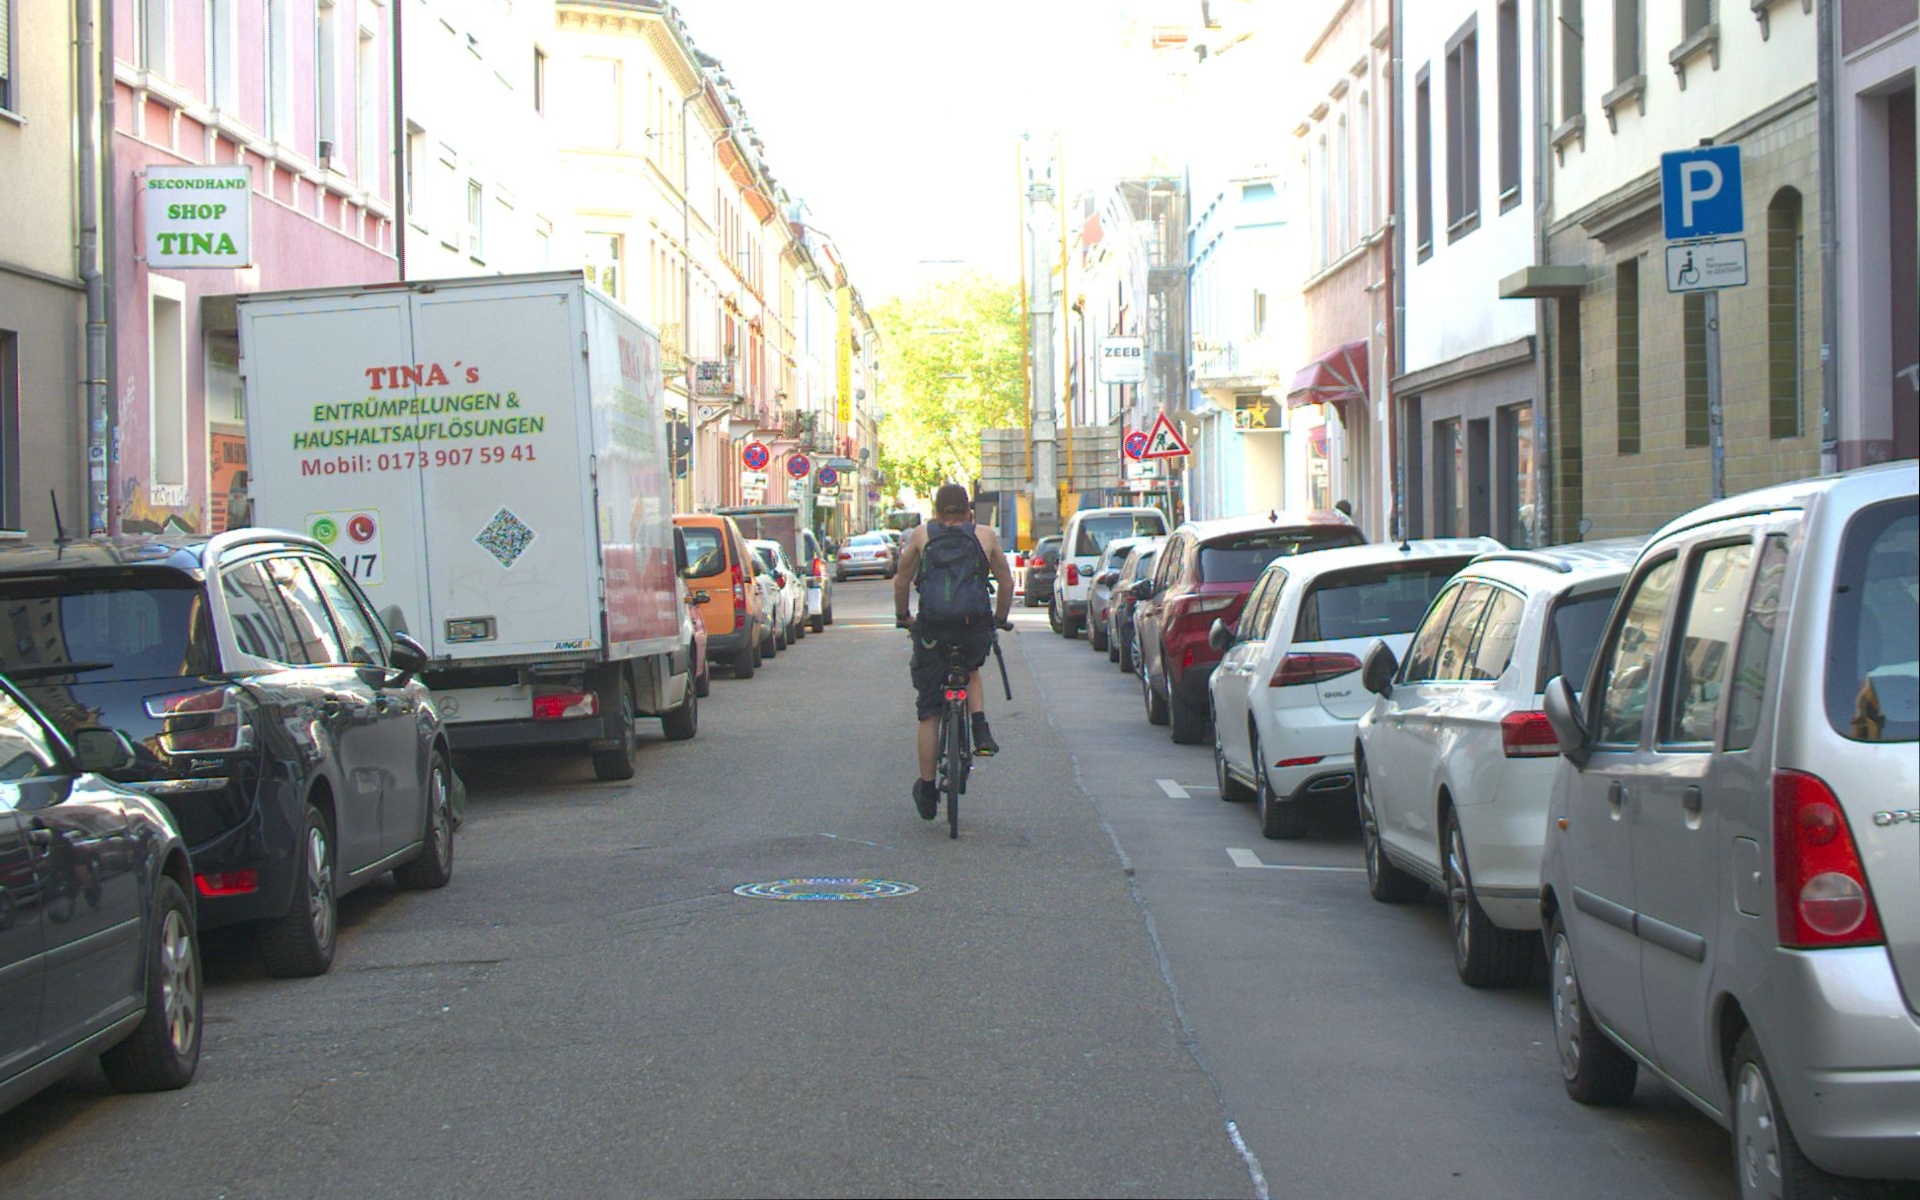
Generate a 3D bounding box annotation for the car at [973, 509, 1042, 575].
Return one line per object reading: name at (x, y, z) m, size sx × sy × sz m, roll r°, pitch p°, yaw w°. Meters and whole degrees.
car at (1.148, -1.418, 84.205) m, size 1.611 × 1.555 × 3.610 m, roll 1°, pitch 1°, yaw 0°

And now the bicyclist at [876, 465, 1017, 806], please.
bicyclist at (-0.071, 0.167, 17.448) m, size 0.667 × 1.671 × 1.097 m, roll 1°, pitch 1°, yaw 0°

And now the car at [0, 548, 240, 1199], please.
car at (-3.055, 0.704, 8.124) m, size 1.716 × 1.473 × 4.499 m, roll -3°, pitch 2°, yaw 0°

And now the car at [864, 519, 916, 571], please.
car at (-2.520, -1.990, 124.309) m, size 1.750 × 1.815 × 3.796 m, roll -1°, pitch 1°, yaw 0°

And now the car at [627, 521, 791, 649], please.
car at (-3.162, -0.213, 44.007) m, size 1.750 × 1.532 × 4.319 m, roll -1°, pitch 1°, yaw 0°

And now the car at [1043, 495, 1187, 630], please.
car at (2.244, -0.556, 50.623) m, size 1.750 × 1.872 × 3.973 m, roll -1°, pitch 1°, yaw -2°

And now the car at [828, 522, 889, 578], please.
car at (-3.151, -1.553, 107.258) m, size 1.750 × 1.678 × 3.796 m, roll -1°, pitch 1°, yaw 0°

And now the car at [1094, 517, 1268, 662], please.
car at (2.503, -0.140, 39.658) m, size 1.646 × 1.470 × 3.971 m, roll -4°, pitch 1°, yaw 0°

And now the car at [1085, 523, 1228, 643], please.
car at (2.567, -0.241, 45.560) m, size 1.750 × 1.481 × 3.799 m, roll -1°, pitch 1°, yaw 2°

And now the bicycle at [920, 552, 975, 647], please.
bicycle at (-0.152, -0.017, 42.101) m, size 0.648 × 1.125 × 2.136 m, roll 1°, pitch 1°, yaw 0°

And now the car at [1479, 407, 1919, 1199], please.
car at (2.272, 0.493, 7.953) m, size 1.556 × 1.706 × 3.559 m, roll 1°, pitch 1°, yaw 0°

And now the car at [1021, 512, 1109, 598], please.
car at (2.053, -0.887, 68.099) m, size 1.611 × 1.628 × 3.610 m, roll 1°, pitch 1°, yaw 0°

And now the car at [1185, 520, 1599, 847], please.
car at (2.249, 0.381, 18.863) m, size 1.686 × 1.538 × 4.046 m, roll -2°, pitch 1°, yaw 0°

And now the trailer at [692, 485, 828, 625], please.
trailer at (-3.097, -0.707, 53.883) m, size 1.882 × 2.085 × 3.737 m, roll -1°, pitch 1°, yaw 0°

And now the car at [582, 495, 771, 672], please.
car at (-3.125, -0.202, 38.564) m, size 1.752 × 1.810 × 4.078 m, roll -2°, pitch 1°, yaw -1°

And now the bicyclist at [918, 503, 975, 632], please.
bicyclist at (-0.164, -0.397, 42.158) m, size 0.671 × 1.562 × 0.716 m, roll 1°, pitch 1°, yaw -1°

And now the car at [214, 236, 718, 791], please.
car at (-3.253, -0.577, 24.457) m, size 2.343 × 3.280 × 7.154 m, roll -2°, pitch 1°, yaw 1°

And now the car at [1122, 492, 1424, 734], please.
car at (2.362, 0.040, 26.965) m, size 1.918 × 1.700 × 4.366 m, roll -1°, pitch 1°, yaw 0°

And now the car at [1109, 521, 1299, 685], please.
car at (2.436, -0.001, 35.067) m, size 1.667 × 1.500 × 3.816 m, roll -3°, pitch 1°, yaw 1°

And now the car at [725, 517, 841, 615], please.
car at (-2.968, -0.581, 58.199) m, size 1.750 × 1.567 × 3.796 m, roll -1°, pitch 1°, yaw 0°

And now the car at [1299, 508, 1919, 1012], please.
car at (2.417, 0.469, 13.169) m, size 1.697 × 1.538 × 4.629 m, roll -2°, pitch 1°, yaw 0°

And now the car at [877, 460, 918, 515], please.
car at (-2.771, -4.993, 153.218) m, size 1.750 × 2.310 × 3.796 m, roll -1°, pitch 1°, yaw 0°

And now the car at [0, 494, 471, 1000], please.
car at (-3.145, 0.452, 13.757) m, size 1.716 × 1.644 × 4.246 m, roll -3°, pitch 2°, yaw 0°

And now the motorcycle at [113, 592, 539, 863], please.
motorcycle at (-3.290, 0.633, 18.008) m, size 0.791 × 1.248 × 2.102 m, roll -1°, pitch 2°, yaw 42°

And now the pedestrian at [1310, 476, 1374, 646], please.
pedestrian at (4.562, -0.465, 41.090) m, size 0.644 × 2.007 × 0.764 m, roll 1°, pitch 1°, yaw 0°

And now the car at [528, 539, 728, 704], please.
car at (-3.257, 0.180, 34.252) m, size 1.578 × 1.478 × 3.565 m, roll -3°, pitch 1°, yaw 0°

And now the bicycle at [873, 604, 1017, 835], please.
bicycle at (-0.079, 0.573, 17.484) m, size 0.677 × 1.071 × 1.942 m, roll 1°, pitch 1°, yaw 0°

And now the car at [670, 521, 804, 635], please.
car at (-3.163, -0.331, 49.335) m, size 1.653 × 1.532 × 3.634 m, roll -1°, pitch 1°, yaw 0°

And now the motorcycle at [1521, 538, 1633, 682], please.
motorcycle at (4.915, 0.066, 27.474) m, size 0.501 × 1.091 × 1.878 m, roll -3°, pitch 1°, yaw 0°
